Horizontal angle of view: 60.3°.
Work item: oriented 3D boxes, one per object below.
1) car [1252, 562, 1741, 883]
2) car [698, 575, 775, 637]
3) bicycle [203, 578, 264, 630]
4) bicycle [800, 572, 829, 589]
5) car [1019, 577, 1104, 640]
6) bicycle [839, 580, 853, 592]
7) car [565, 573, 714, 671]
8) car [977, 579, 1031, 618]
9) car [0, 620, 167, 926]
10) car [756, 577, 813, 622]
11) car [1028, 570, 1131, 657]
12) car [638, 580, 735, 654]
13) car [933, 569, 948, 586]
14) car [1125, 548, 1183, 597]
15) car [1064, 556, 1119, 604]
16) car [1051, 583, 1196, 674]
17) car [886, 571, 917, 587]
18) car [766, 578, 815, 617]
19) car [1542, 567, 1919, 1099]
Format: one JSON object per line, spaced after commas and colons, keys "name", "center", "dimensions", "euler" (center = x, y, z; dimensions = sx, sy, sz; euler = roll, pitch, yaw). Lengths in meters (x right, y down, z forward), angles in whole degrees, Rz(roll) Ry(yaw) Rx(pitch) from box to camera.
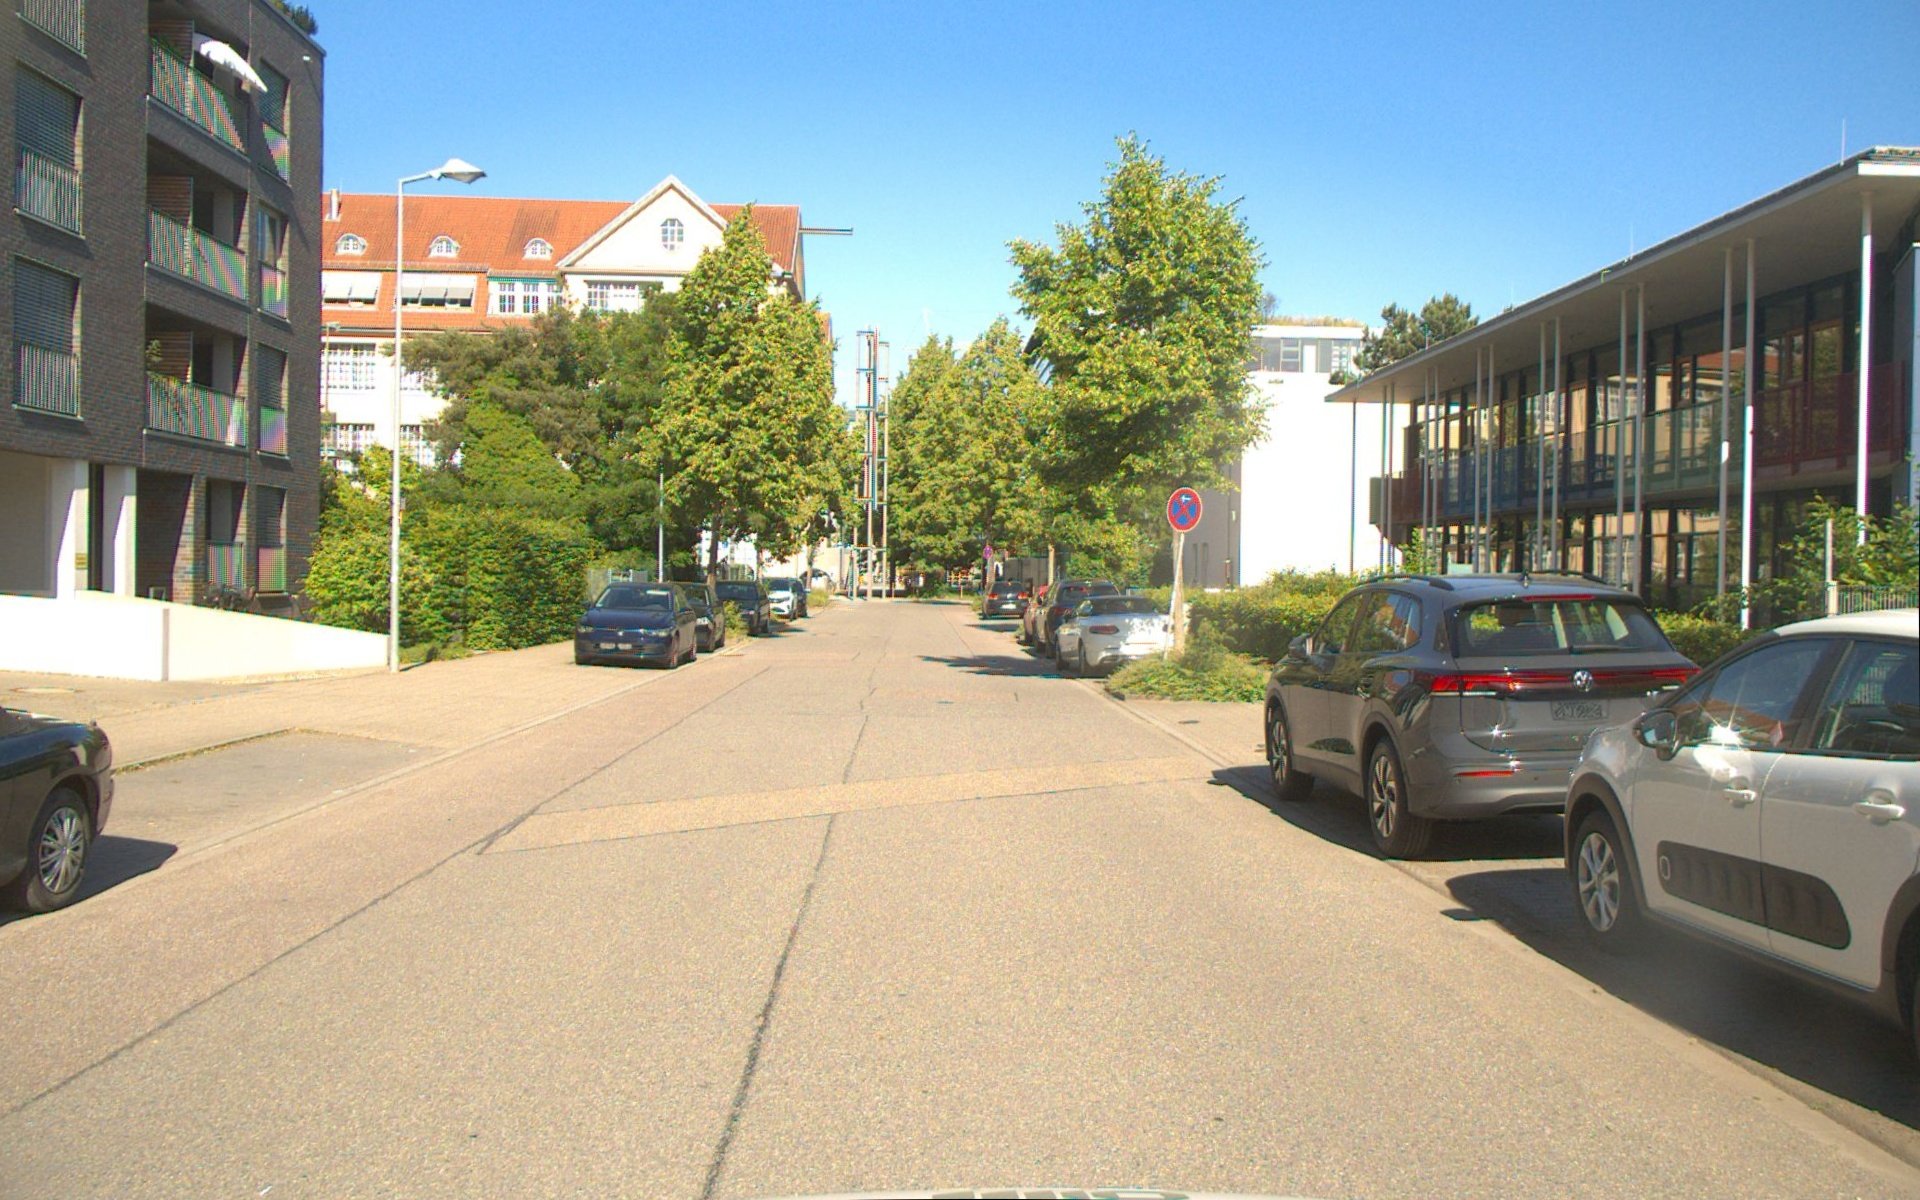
{"name": "car", "center": [3.276, 0.637, 11.071], "dimensions": [1.691, 1.681, 4.324], "euler": [-1, 0, -2]}
{"name": "car", "center": [-6.151, 0.144, 45.859], "dimensions": [1.660, 1.633, 3.941], "euler": [1, 0, -2]}
{"name": "bicycle", "center": [-12.760, 0.059, 29.090], "dimensions": [0.248, 0.852, 1.775], "euler": [1, 1, 1]}
{"name": "bicycle", "center": [-7.368, -0.975, 83.812], "dimensions": [1.439, 0.857, 0.335], "euler": [1, 1, -6]}
{"name": "car", "center": [2.568, 0.206, 42.733], "dimensions": [1.797, 1.542, 3.879], "euler": [1, 0, -2]}
{"name": "bicycle", "center": [-7.126, -0.891, 103.585], "dimensions": [0.370, 0.695, 1.065], "euler": [0, 2, -38]}
{"name": "car", "center": [-5.729, 0.368, 29.989], "dimensions": [1.725, 1.554, 4.001], "euler": [3, 0, 2]}
{"name": "car", "center": [1.719, -0.083, 65.908], "dimensions": [1.953, 1.512, 3.999], "euler": [0, 0, -2]}
{"name": "car", "center": [-4.857, 0.745, 6.542], "dimensions": [1.566, 1.238, 3.874], "euler": [3, 0, -1]}
{"name": "car", "center": [-6.248, -0.039, 59.129], "dimensions": [1.741, 1.557, 3.999], "euler": [0, 0, -2]}
{"name": "car", "center": [2.580, 0.268, 36.628], "dimensions": [1.784, 1.749, 4.118], "euler": [-2, 0, -2]}
{"name": "car", "center": [-5.964, 0.349, 36.355], "dimensions": [1.597, 1.527, 3.576], "euler": [1, 0, -2]}
{"name": "car", "center": [-2.562, -2.961, 216.298], "dimensions": [1.953, 2.048, 4.000], "euler": [1, 1, -1]}
{"name": "car", "center": [8.499, -1.188, 72.689], "dimensions": [1.953, 2.049, 3.999], "euler": [0, 0, -2]}
{"name": "car", "center": [5.721, -0.862, 72.606], "dimensions": [1.983, 2.049, 3.999], "euler": [0, 0, -2]}
{"name": "car", "center": [2.833, 0.483, 29.572], "dimensions": [1.794, 1.447, 4.229], "euler": [-2, 0, -5]}
{"name": "car", "center": [-7.619, -2.766, 214.788], "dimensions": [3.906, 2.048, 2.000], "euler": [1, 1, -1]}
{"name": "car", "center": [-6.594, -0.111, 64.582], "dimensions": [1.666, 1.496, 3.460], "euler": [0, 0, -2]}
{"name": "car", "center": [3.657, 0.689, 5.947], "dimensions": [1.646, 1.569, 3.848], "euler": [1, 1, -2]}
